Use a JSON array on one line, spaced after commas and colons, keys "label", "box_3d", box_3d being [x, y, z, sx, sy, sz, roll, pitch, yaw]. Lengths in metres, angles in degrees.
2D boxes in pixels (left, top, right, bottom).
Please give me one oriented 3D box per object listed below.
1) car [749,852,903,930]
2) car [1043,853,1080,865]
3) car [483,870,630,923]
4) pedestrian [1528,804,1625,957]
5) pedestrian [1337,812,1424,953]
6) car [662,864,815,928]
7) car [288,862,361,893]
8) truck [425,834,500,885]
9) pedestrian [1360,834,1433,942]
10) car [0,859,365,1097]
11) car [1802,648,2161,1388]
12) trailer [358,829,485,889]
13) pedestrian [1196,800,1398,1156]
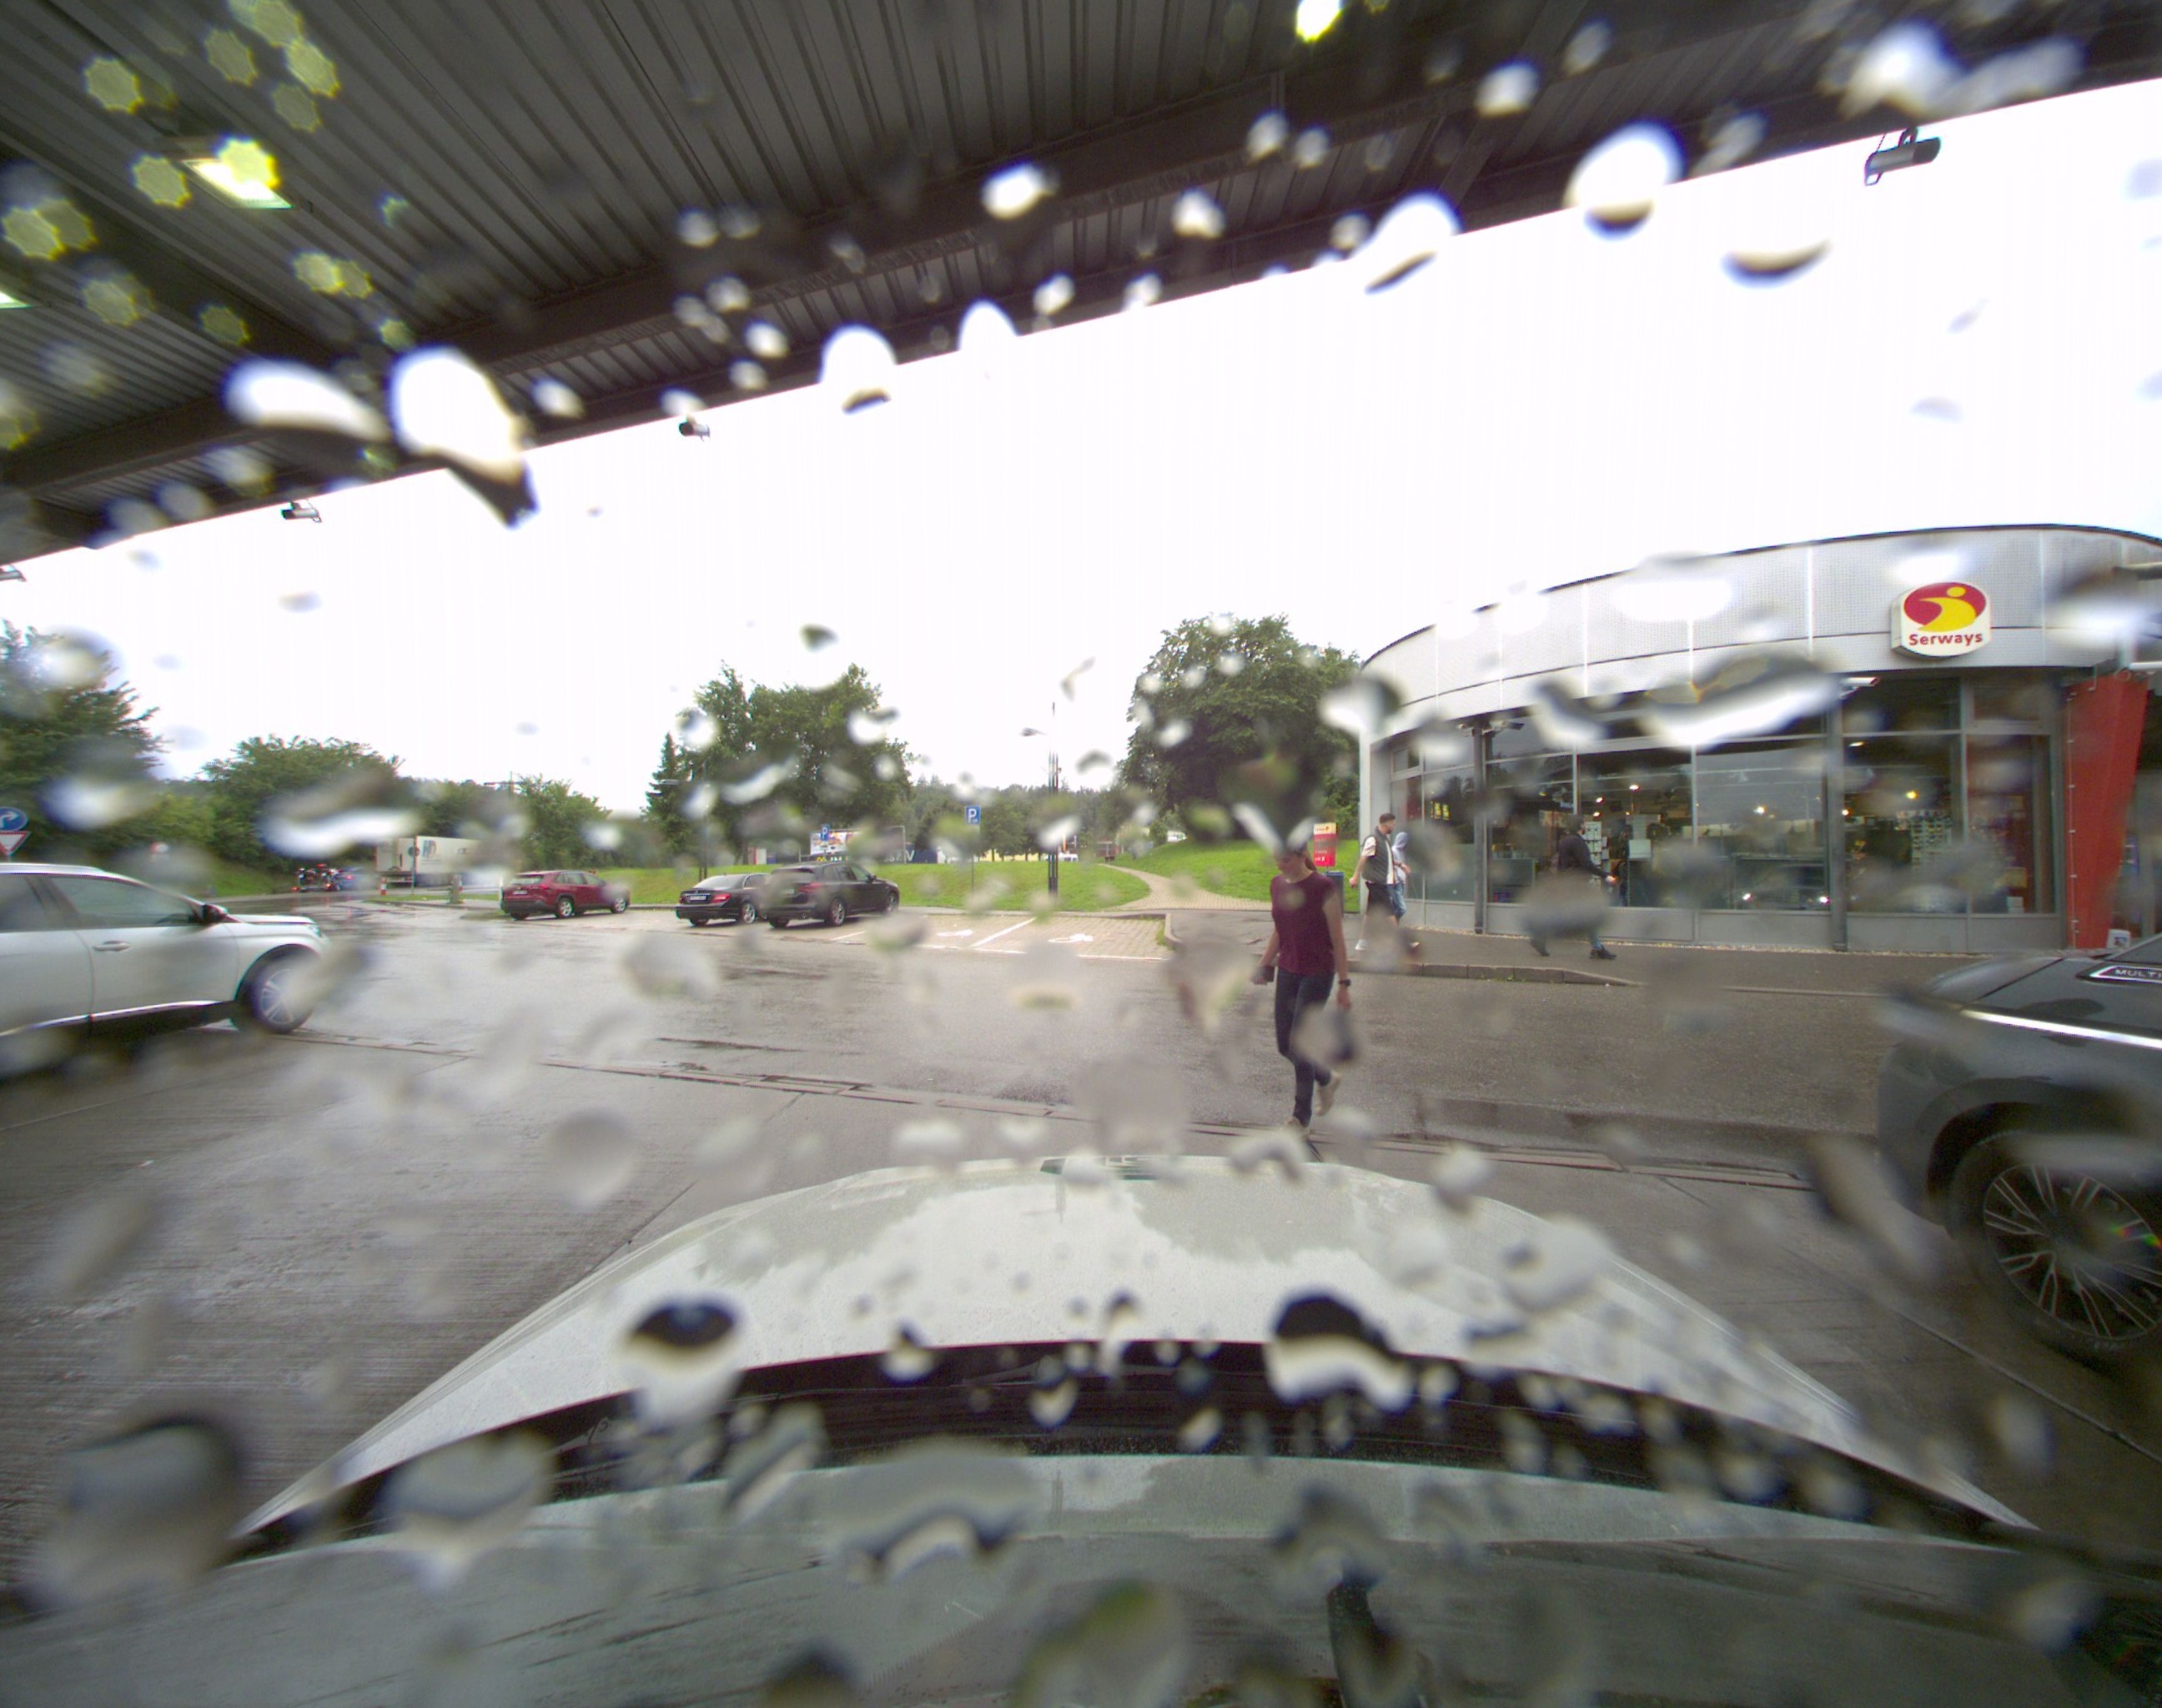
[{"label": "car", "box_3d": [-6.620, 0.887, 21.725, 1.871, 1.828, 4.429, -2, 0, 13]}, {"label": "car", "box_3d": [-3.193, 0.805, 134.062, 5.376, 2.013, 2.468, -1, 0, 21]}, {"label": "car", "box_3d": [-18.163, 1.416, 28.505, 1.873, 1.596, 4.364, -2, 0, 8]}, {"label": "pedestrian", "box_3d": [6.399, 0.330, 10.557, 0.989, 1.864, 0.804, -2, 0, 30]}, {"label": "pedestrian", "box_3d": [4.156, 0.382, 11.286, 0.963, 1.848, 0.778, -2, 0, 30]}, {"label": "car", "box_3d": [-9.622, 1.137, 23.282, 1.871, 1.565, 4.200, -2, 0, 13]}, {"label": "car", "box_3d": [-49.244, 1.492, 53.108, 1.934, 1.838, 4.361, -1, 0, -20]}, {"label": "truck", "box_3d": [-57.117, 0.501, 75.401, 3.467, 4.557, 6.694, 0, -1, -18]}, {"label": "pedestrian", "box_3d": [4.756, 0.497, 12.270, 0.880, 1.550, 0.665, -2, 0, 31]}, {"label": "car", "box_3d": [-8.075, 0.836, 5.720, 1.810, 1.565, 4.999, 0, 0, -2]}, {"label": "car", "box_3d": [3.713, 0.425, 1.215, 1.809, 1.948, 4.002, -1, 0, 2]}, {"label": "trailer", "box_3d": [-54.894, 0.428, 68.461, 3.466, 4.557, 13.827, 0, -1, -18]}, {"label": "pedestrian", "box_3d": [1.220, 0.610, 4.553, 0.786, 1.734, 0.845, -2, -1, 37]}]
